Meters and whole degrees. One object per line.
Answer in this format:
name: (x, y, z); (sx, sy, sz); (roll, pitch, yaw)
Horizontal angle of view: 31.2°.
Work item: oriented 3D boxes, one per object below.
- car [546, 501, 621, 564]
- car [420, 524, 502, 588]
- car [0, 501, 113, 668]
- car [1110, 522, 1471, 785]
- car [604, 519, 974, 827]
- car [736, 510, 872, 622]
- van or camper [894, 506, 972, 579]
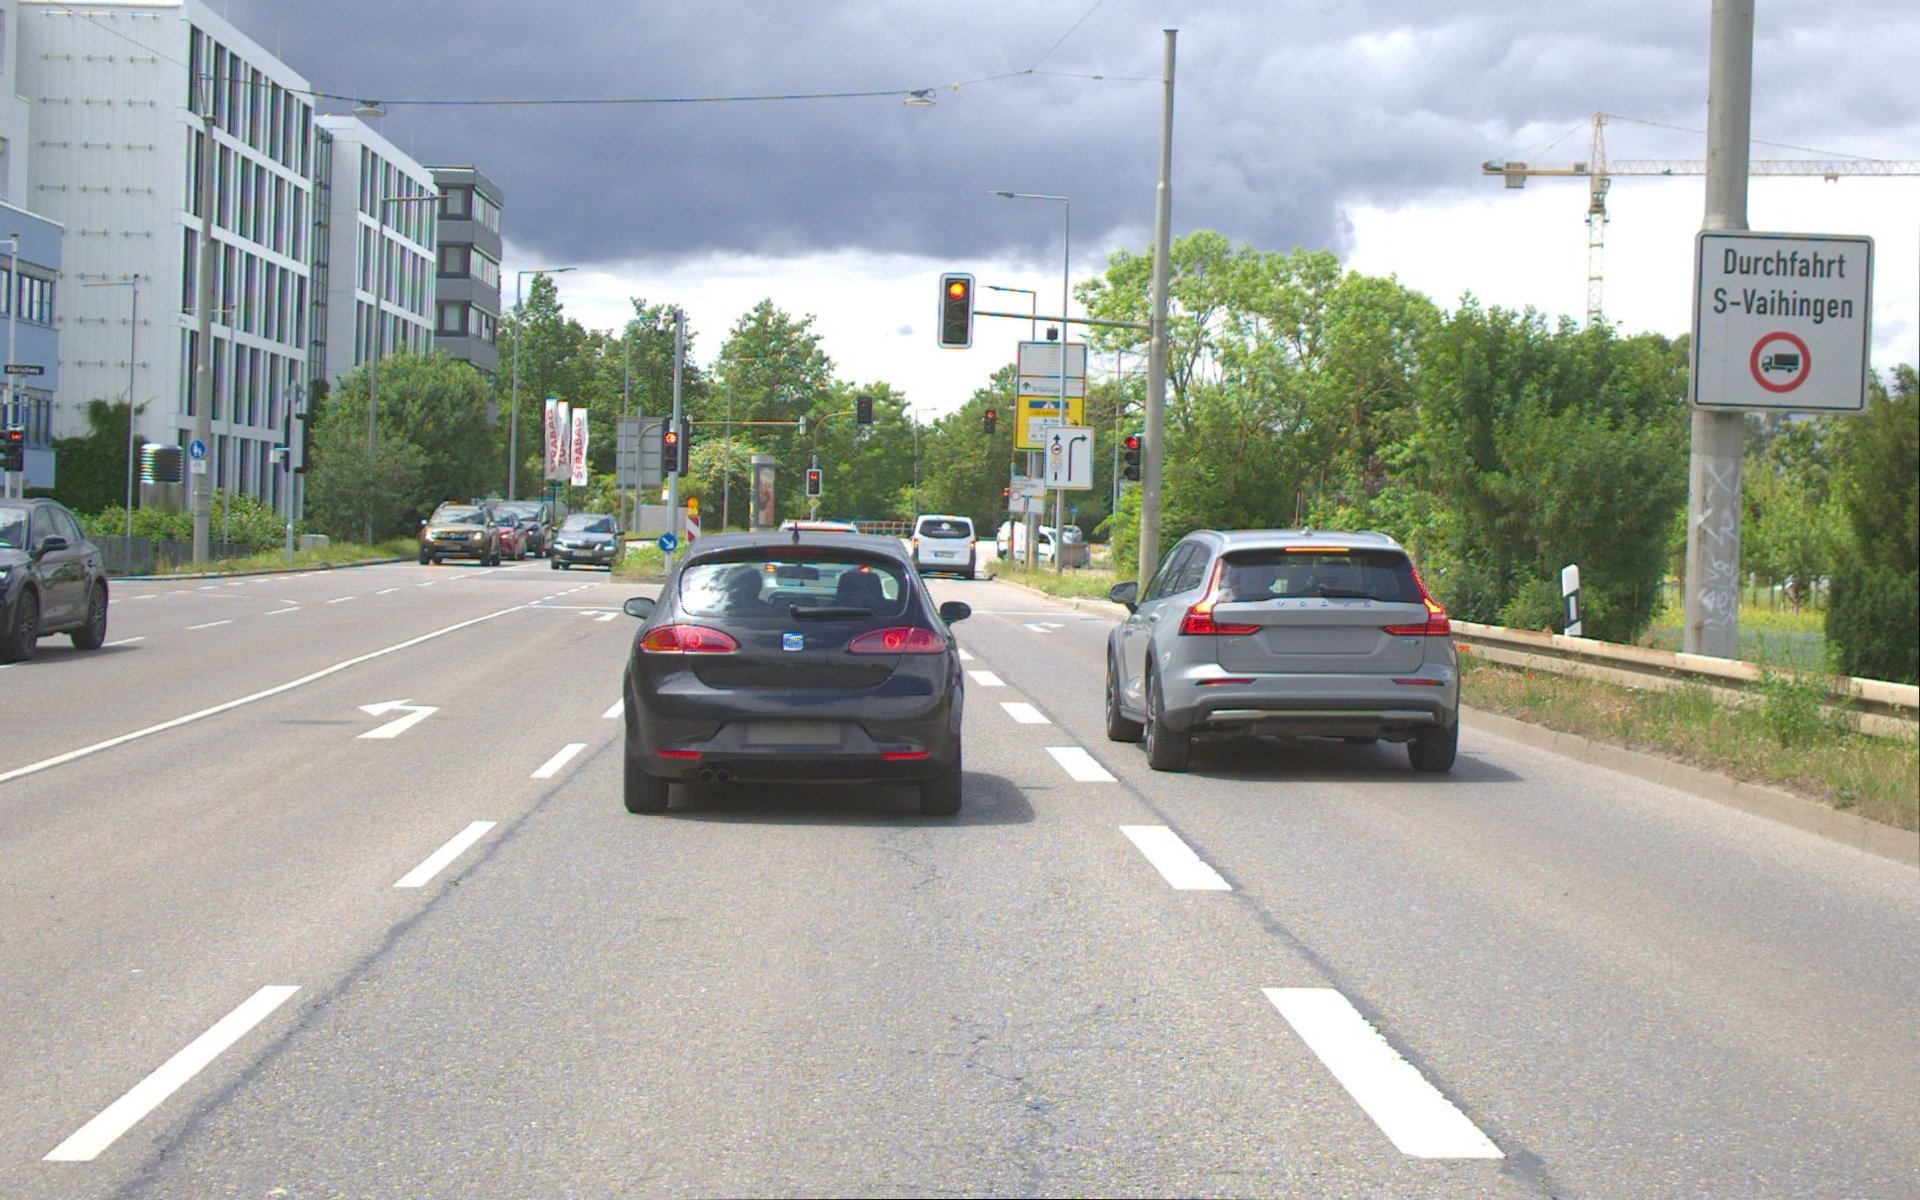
car: (-9.692, -1.756, 88.714); (1.668, 1.519, 4.009); (-1, 3, -3)
car: (-13.057, -1.182, 90.107); (1.751, 1.625, 4.001); (0, 1, -3)
car: (-10.178, -0.205, 35.303); (1.867, 1.609, 4.572); (1, 1, -1)
car: (2.014, 0.279, 22.142); (1.958, 1.520, 4.340); (0, 1, 1)
car: (-0.821, 0.325, 18.644); (1.748, 1.478, 4.000); (0, 1, 1)
car: (-2.471, -0.561, 53.926); (1.983, 1.584, 4.227); (2, 2, -3)
van or camper: (-0.809, -1.681, 101.430); (1.899, 1.919, 4.000); (2, -1, -5)
